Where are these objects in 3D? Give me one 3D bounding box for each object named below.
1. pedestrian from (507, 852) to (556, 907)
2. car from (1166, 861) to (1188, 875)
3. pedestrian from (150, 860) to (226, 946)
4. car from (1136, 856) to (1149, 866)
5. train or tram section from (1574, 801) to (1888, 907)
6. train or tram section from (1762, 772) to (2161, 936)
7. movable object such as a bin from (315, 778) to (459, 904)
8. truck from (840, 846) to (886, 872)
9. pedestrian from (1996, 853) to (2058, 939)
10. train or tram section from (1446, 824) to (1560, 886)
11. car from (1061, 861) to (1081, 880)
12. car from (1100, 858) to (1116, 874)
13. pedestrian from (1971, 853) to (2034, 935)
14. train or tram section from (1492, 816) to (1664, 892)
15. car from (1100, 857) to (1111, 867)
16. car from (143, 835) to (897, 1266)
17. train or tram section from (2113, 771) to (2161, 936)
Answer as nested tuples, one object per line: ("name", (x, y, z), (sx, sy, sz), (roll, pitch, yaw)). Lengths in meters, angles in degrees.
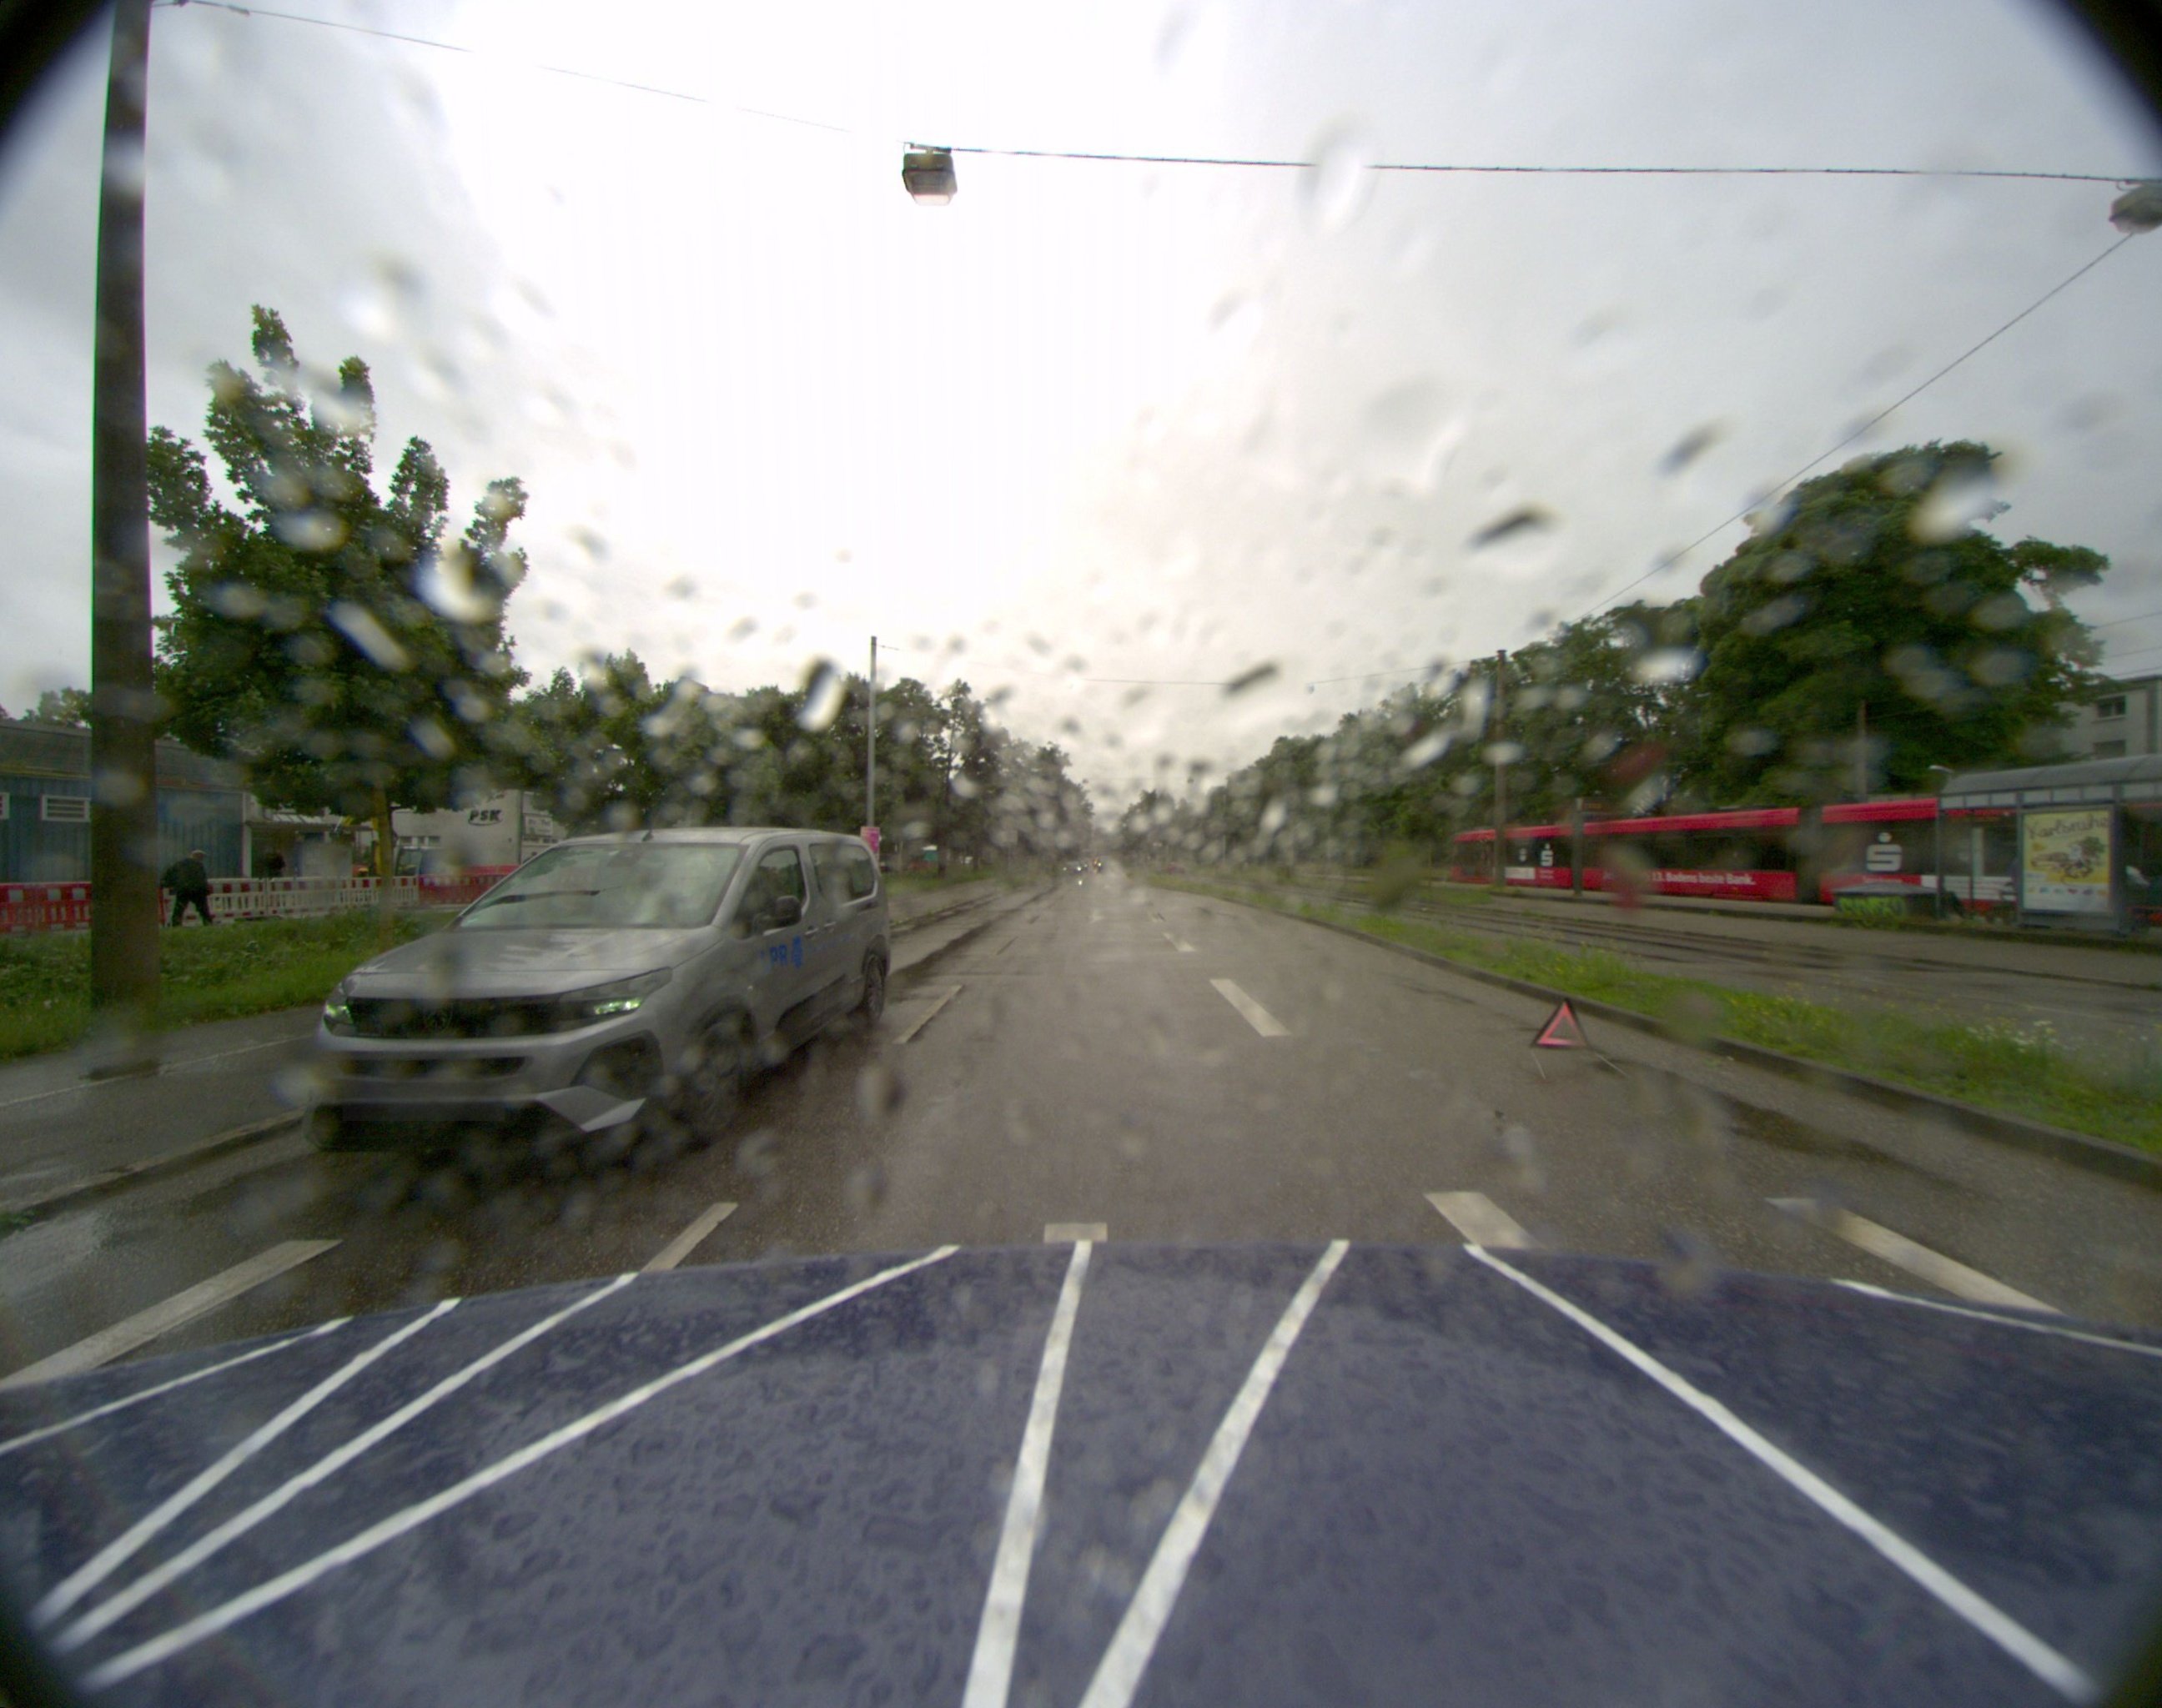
("pedestrian", (-19.955, 0.916, 27.614), (0.814, 1.924, 1.212), (-2, 1, 0))
("car", (10.040, 1.454, 79.601), (1.685, 1.353, 4.251), (2, 0, -1))
("pedestrian", (-20.261, 1.086, 17.251), (0.580, 1.885, 0.876), (-2, 1, 0))
("car", (9.344, 1.002, 116.042), (1.741, 1.428, 3.820), (-1, 1, 1))
("train or tram section", (24.173, 0.007, 29.487), (3.541, 3.381, 10.261), (0, 0, 1))
("train or tram section", (23.987, -0.004, 20.211), (3.541, 3.370, 9.278), (0, 0, 1))
("movable object such as a bin", (-26.117, -0.471, 28.811), (1.557, 4.401, 3.909), (-2, 1, 2))
("truck", (-25.987, 0.575, 90.996), (2.811, 2.882, 8.749), (-2, 1, 0))
("pedestrian", (17.544, 0.772, 14.104), (0.444, 1.553, 0.602), (-2, 1, 15))
("train or tram section", (24.485, 0.033, 44.515), (3.541, 3.398, 5.770), (0, 0, 1))
("car", (-0.941, 1.576, 72.671), (1.858, 1.583, 3.999), (-2, 1, 0))
("car", (3.238, 1.408, 91.334), (1.812, 1.683, 3.777), (-2, 1, 1))
("pedestrian", (17.907, 0.768, 14.773), (0.522, 1.553, 0.602), (-2, 1, 15))
("train or tram section", (24.353, 0.018, 37.913), (3.541, 3.392, 7.903), (0, 0, 1))
("car", (4.233, 1.383, 130.866), (1.898, 1.602, 4.000), (-2, 1, 1))
("car", (-2.922, 0.826, 5.500), (1.998, 1.785, 4.562), (-2, 0, 0))
("train or tram section", (23.817, -0.013, 11.623), (3.541, 3.370, 9.278), (0, 0, 1))
